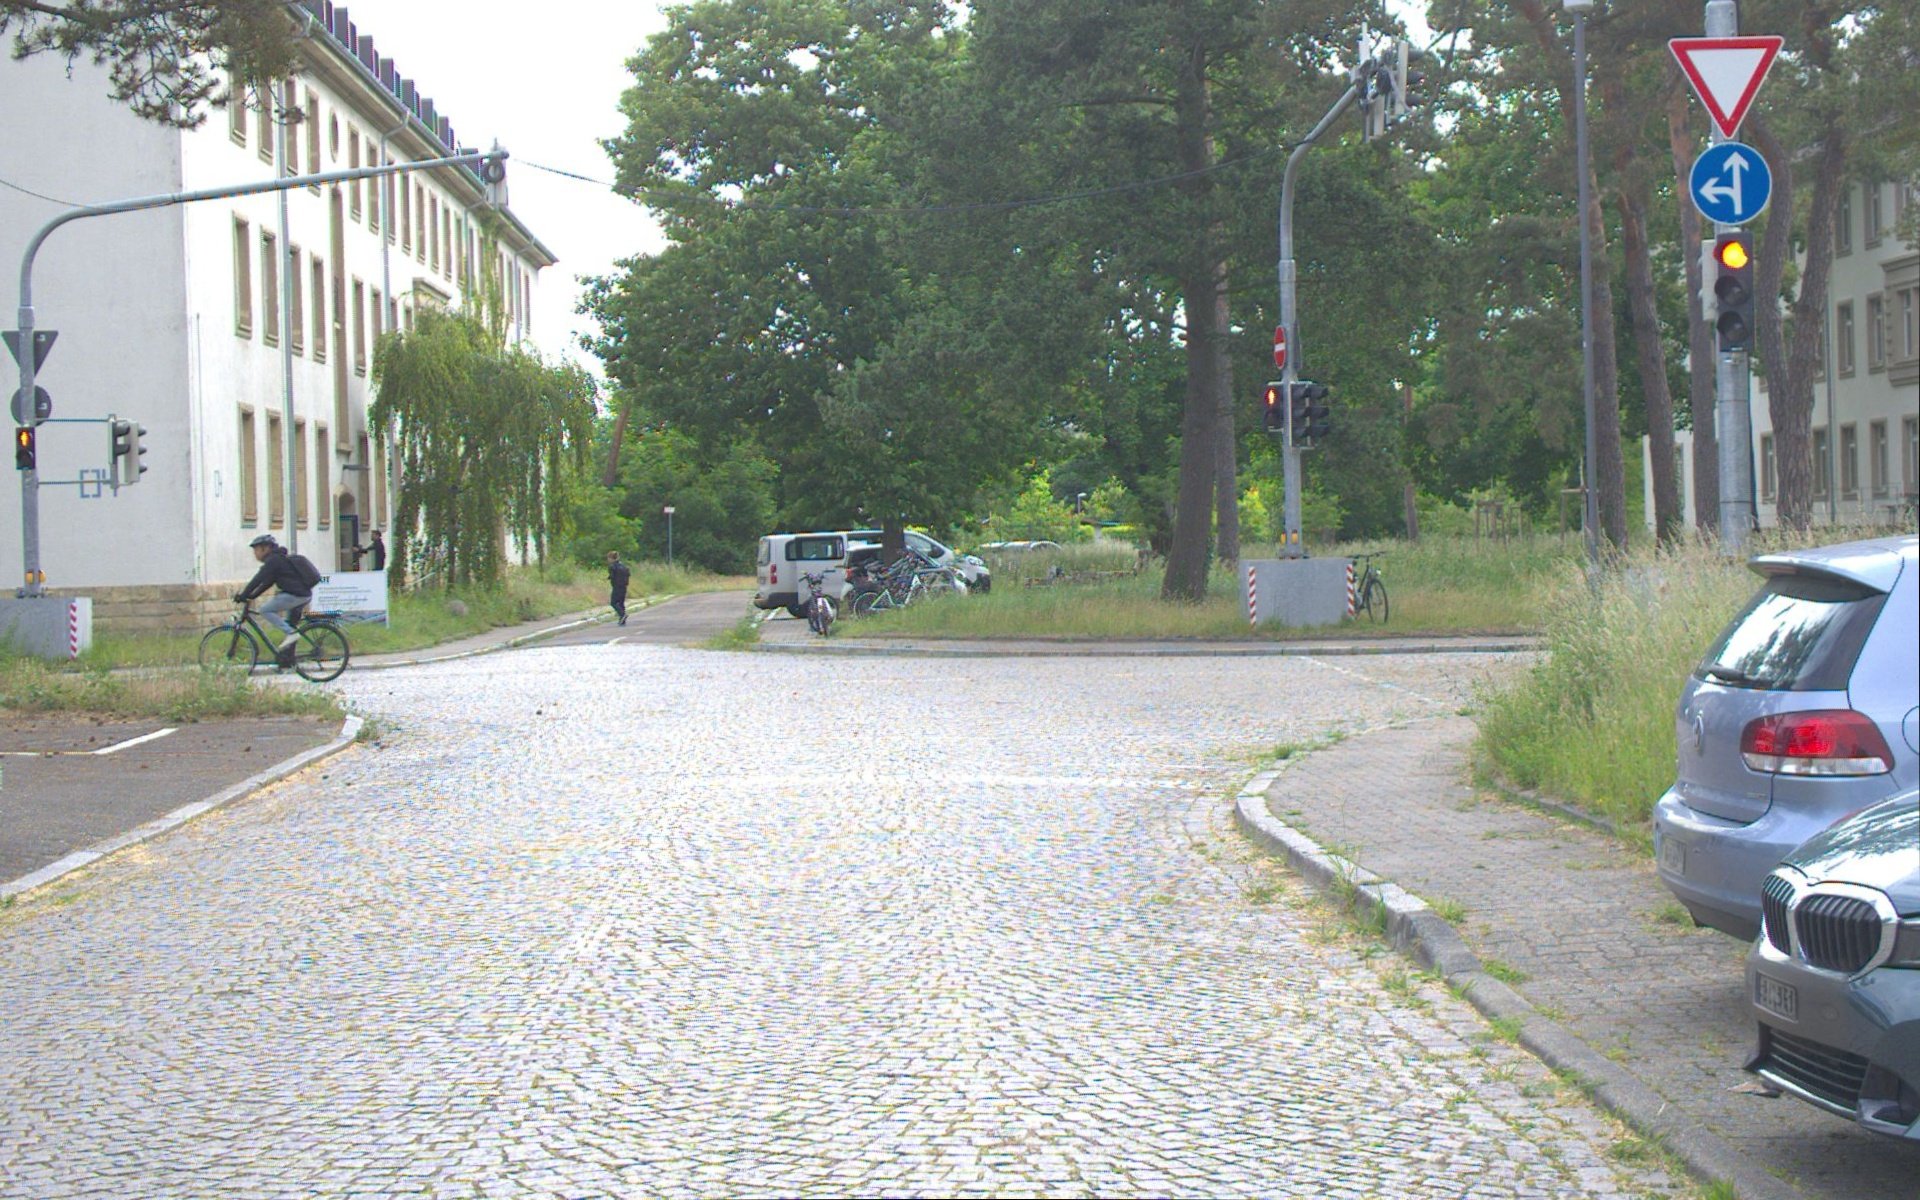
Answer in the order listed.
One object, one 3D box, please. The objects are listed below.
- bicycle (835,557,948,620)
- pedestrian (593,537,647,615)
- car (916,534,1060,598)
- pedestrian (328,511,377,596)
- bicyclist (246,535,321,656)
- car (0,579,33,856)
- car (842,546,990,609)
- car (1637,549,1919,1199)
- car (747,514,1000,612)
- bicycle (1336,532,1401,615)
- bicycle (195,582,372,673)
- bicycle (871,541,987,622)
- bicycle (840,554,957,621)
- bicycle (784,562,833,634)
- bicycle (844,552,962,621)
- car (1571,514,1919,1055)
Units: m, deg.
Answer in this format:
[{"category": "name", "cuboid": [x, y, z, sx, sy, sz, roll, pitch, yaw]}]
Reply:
[{"category": "bicycle", "cuboid": [-1.221, -0.218, 61.357, 1.955, 1.066, 0.588, -2, 1, -31]}, {"category": "pedestrian", "cuboid": [-7.145, -0.508, 72.256, 0.775, 1.613, 0.739, -1, 1, 37]}, {"category": "car", "cuboid": [0.644, -0.813, 81.254, 3.231, 1.411, 1.725, -2, 1, -4]}, {"category": "pedestrian", "cuboid": [-13.194, -1.012, 74.678, 0.774, 1.831, 0.741, -2, 1, -33]}, {"category": "bicyclist", "cuboid": [-8.012, -0.058, 40.716, 0.749, 1.405, 0.605, -1, 1, -2]}, {"category": "car", "cuboid": [-6.877, 0.569, 17.358, 3.947, 1.416, 1.650, 1, 1, -2]}, {"category": "car", "cuboid": [-0.957, -0.488, 73.971, 3.005, 1.264, 1.535, -2, 1, -7]}, {"category": "car", "cuboid": [4.170, 0.500, 8.059, 4.680, 1.411, 1.871, -3, 1, -4]}, {"category": "car", "cuboid": [-1.965, -0.841, 77.306, 5.359, 1.918, 2.025, -3, 1, -10]}, {"category": "bicycle", "cuboid": [5.610, -0.379, 47.288, 0.586, 1.102, 1.962, -1, 1, -2]}, {"category": "bicycle", "cuboid": [-8.003, 0.319, 40.714, 1.955, 1.020, 0.605, -1, 1, -2]}, {"category": "bicycle", "cuboid": [-0.554, -0.326, 60.719, 1.954, 1.379, 0.588, -1, 1, -8]}, {"category": "bicycle", "cuboid": [-1.066, -0.219, 59.877, 1.954, 1.113, 0.588, -1, 1, -8]}, {"category": "bicycle", "cuboid": [-2.481, -0.043, 56.013, 0.603, 1.128, 1.962, -1, 1, -7]}, {"category": "bicycle", "cuboid": [-0.981, -0.233, 59.245, 1.954, 1.128, 0.588, -1, 1, -8]}, {"category": "car", "cuboid": [4.012, 0.424, 10.507, 3.927, 1.472, 1.642, -3, 1, 0]}]
